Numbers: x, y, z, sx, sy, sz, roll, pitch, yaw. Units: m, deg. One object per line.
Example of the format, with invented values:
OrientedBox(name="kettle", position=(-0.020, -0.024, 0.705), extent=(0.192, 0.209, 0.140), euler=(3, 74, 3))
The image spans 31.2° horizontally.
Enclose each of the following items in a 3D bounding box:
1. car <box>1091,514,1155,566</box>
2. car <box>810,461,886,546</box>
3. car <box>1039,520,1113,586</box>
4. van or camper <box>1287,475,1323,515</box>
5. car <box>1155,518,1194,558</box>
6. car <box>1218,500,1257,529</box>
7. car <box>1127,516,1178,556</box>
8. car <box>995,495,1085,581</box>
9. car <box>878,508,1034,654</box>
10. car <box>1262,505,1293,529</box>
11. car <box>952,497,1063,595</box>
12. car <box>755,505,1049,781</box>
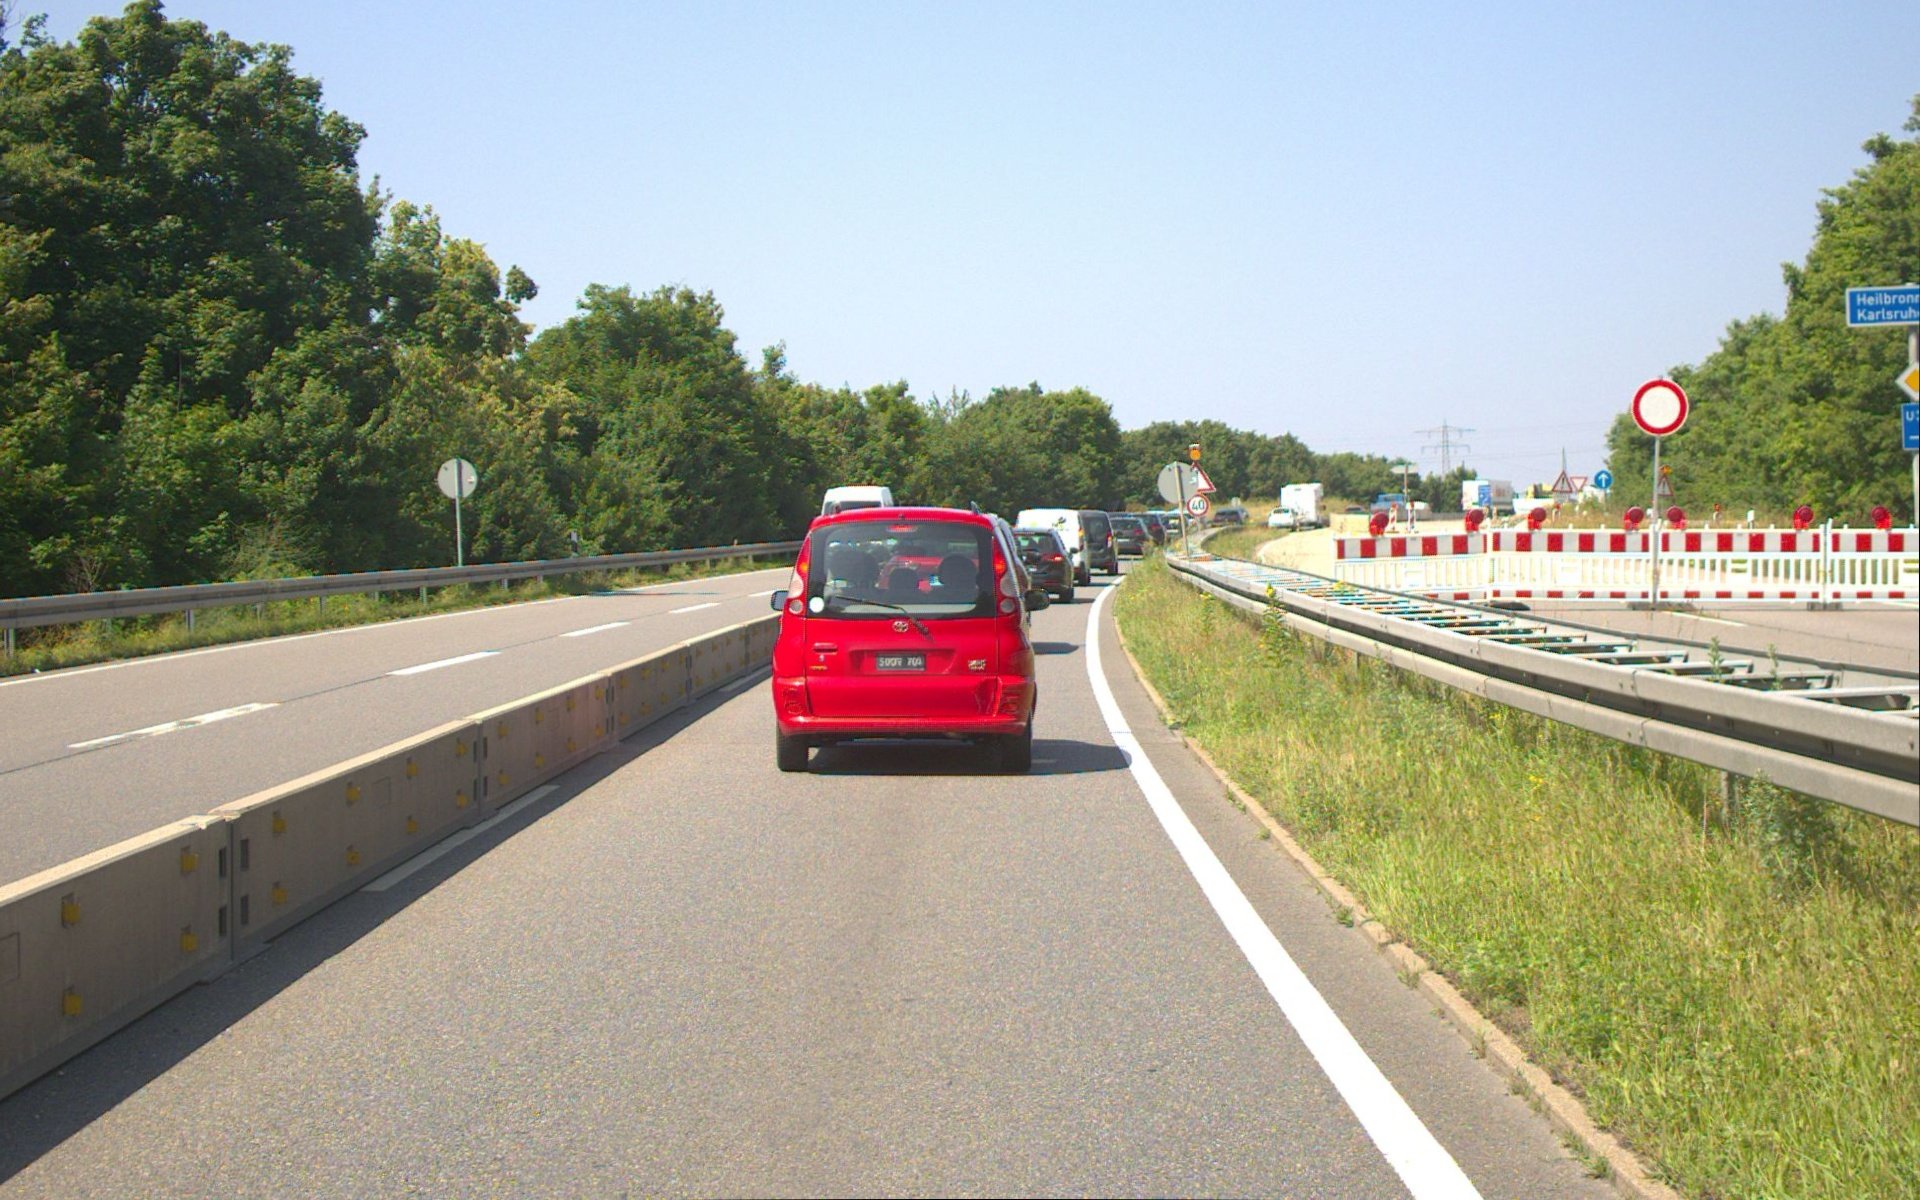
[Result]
OrientedBox(name="car", position=(5.731, -2.106, 121.213), extent=(1.993, 1.777, 4.000), euler=(-1, 1, -1))
OrientedBox(name="car", position=(-3.332, -2.889, 103.153), extent=(2.061, 2.477, 5.561), euler=(0, 1, 0))
OrientedBox(name="car", position=(3.241, -1.317, 95.537), extent=(1.993, 1.744, 4.000), euler=(-1, 1, 2))
OrientedBox(name="van or camper", position=(23.706, -7.219, 236.253), extent=(2.328, 2.697, 4.593), euler=(-1, 1, 4))
OrientedBox(name="car", position=(9.581, -2.770, 153.555), extent=(1.502, 1.730, 3.169), euler=(-1, 1, 7))
OrientedBox(name="car", position=(15.462, -4.743, 191.389), extent=(1.994, 1.546, 3.999), euler=(-1, 1, 6))
OrientedBox(name="car", position=(7.823, -2.607, 139.553), extent=(1.994, 1.579, 4.000), euler=(-1, 1, 3))
OrientedBox(name="car", position=(1.905, -1.488, 82.610), extent=(1.993, 1.997, 4.000), euler=(-1, 1, -1))
OrientedBox(name="car", position=(-0.041, -0.266, 42.796), extent=(1.830, 1.716, 4.000), euler=(-1, 1, 0))
OrientedBox(name="car", position=(20.743, -5.420, 224.814), extent=(1.994, 1.481, 3.999), euler=(-1, 1, 5))
OrientedBox(name="car", position=(0.960, -1.063, 67.268), extent=(1.994, 1.831, 4.000), euler=(-1, 1, 3))
OrientedBox(name="car", position=(-0.305, 0.222, 22.989), extent=(1.752, 1.667, 4.000), euler=(1, 1, 2))
